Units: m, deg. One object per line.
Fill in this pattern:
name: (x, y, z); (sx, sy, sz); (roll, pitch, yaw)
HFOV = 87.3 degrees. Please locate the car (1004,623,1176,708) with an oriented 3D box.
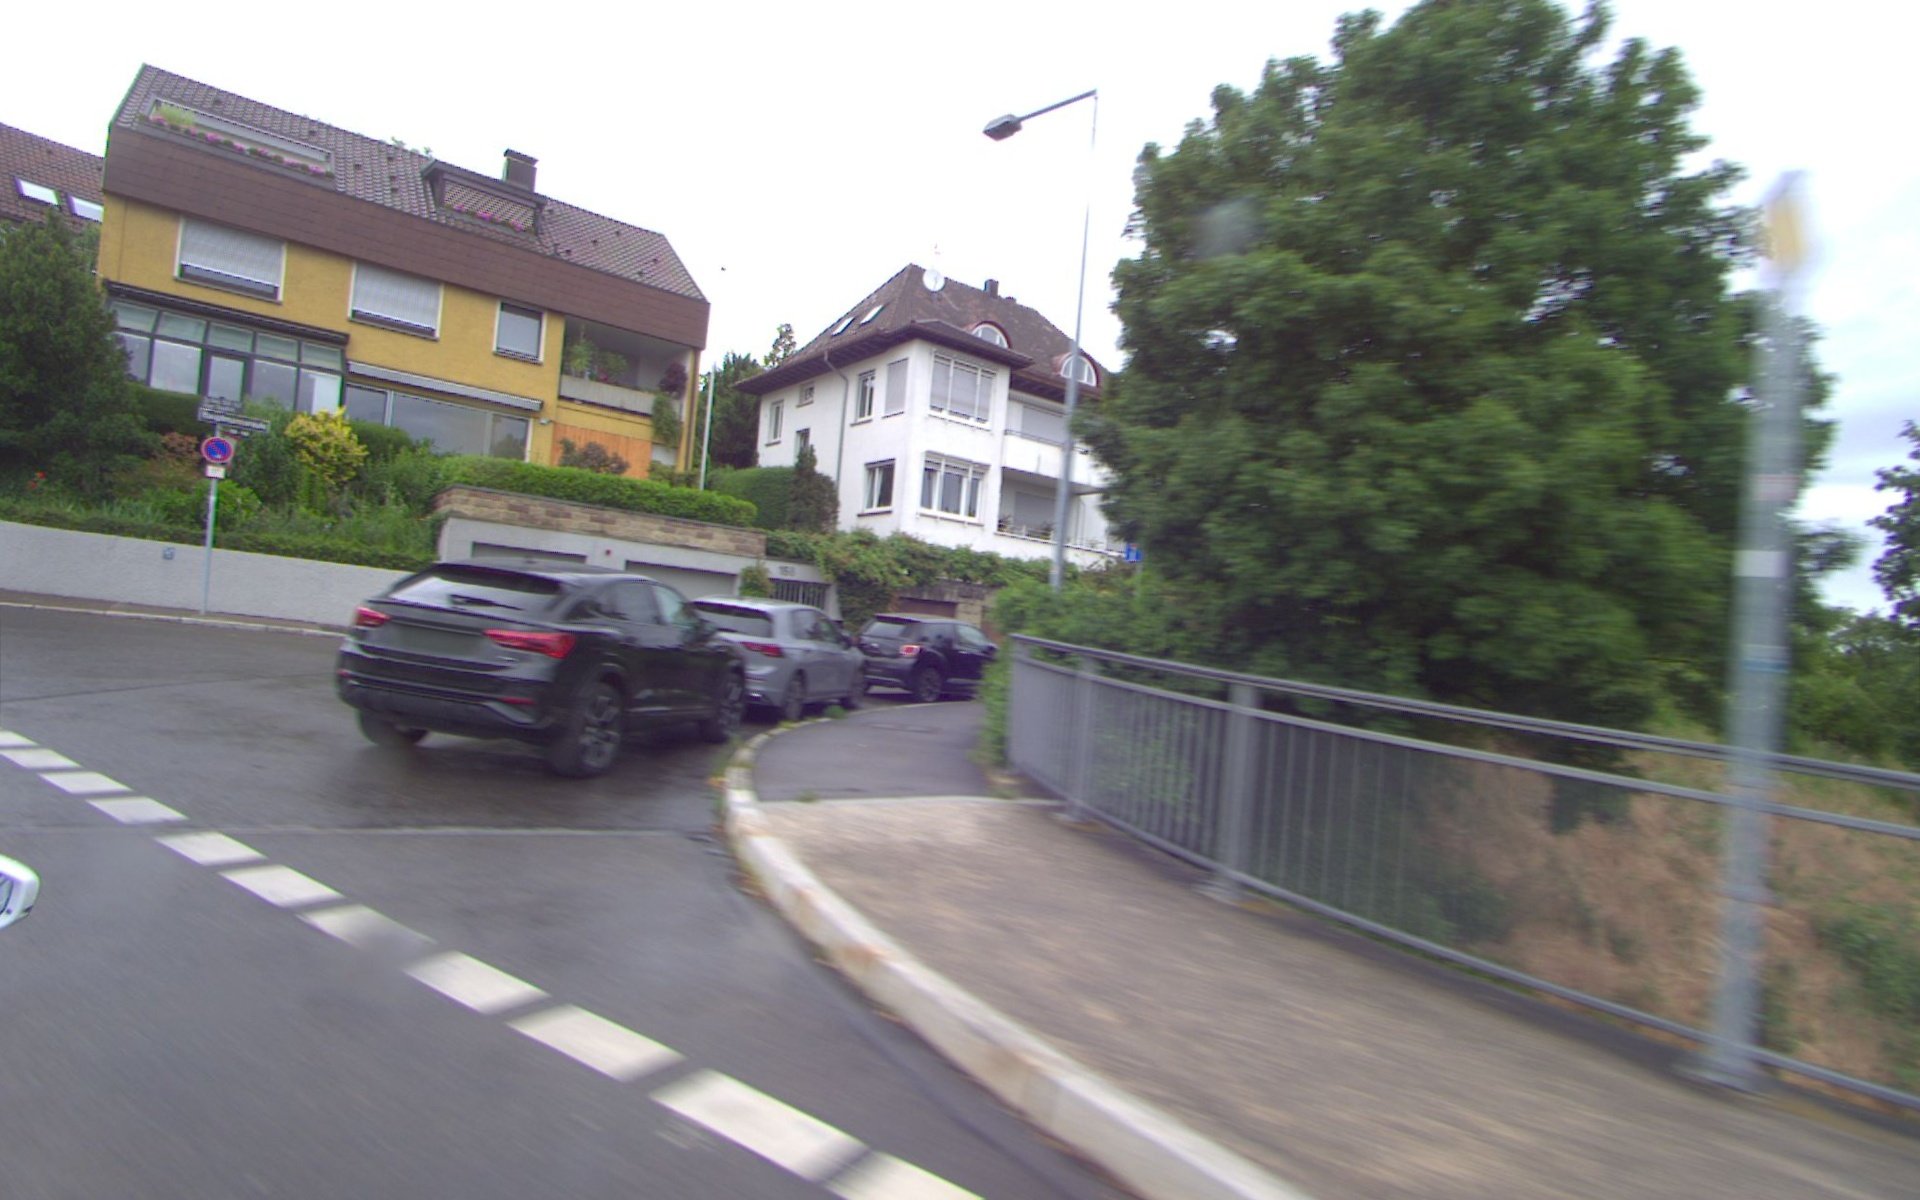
car: (2.908, 1.467, 22.191); (3.577, 1.506, 1.744); (8, -2, -41)

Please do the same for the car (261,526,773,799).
car: (-3.373, 0.490, 8.762); (1.962, 1.540, 4.206); (8, -1, 9)

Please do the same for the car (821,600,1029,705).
car: (-0.533, 0.984, 18.098); (1.812, 1.507, 3.592); (7, 0, 35)

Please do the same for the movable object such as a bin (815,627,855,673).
movable object such as a bin: (-3.078, 1.236, 24.695); (0.674, 1.031, 0.529); (8, 0, 32)

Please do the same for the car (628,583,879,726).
car: (-2.546, 0.715, 13.497); (1.767, 1.442, 4.061); (6, -2, 11)
